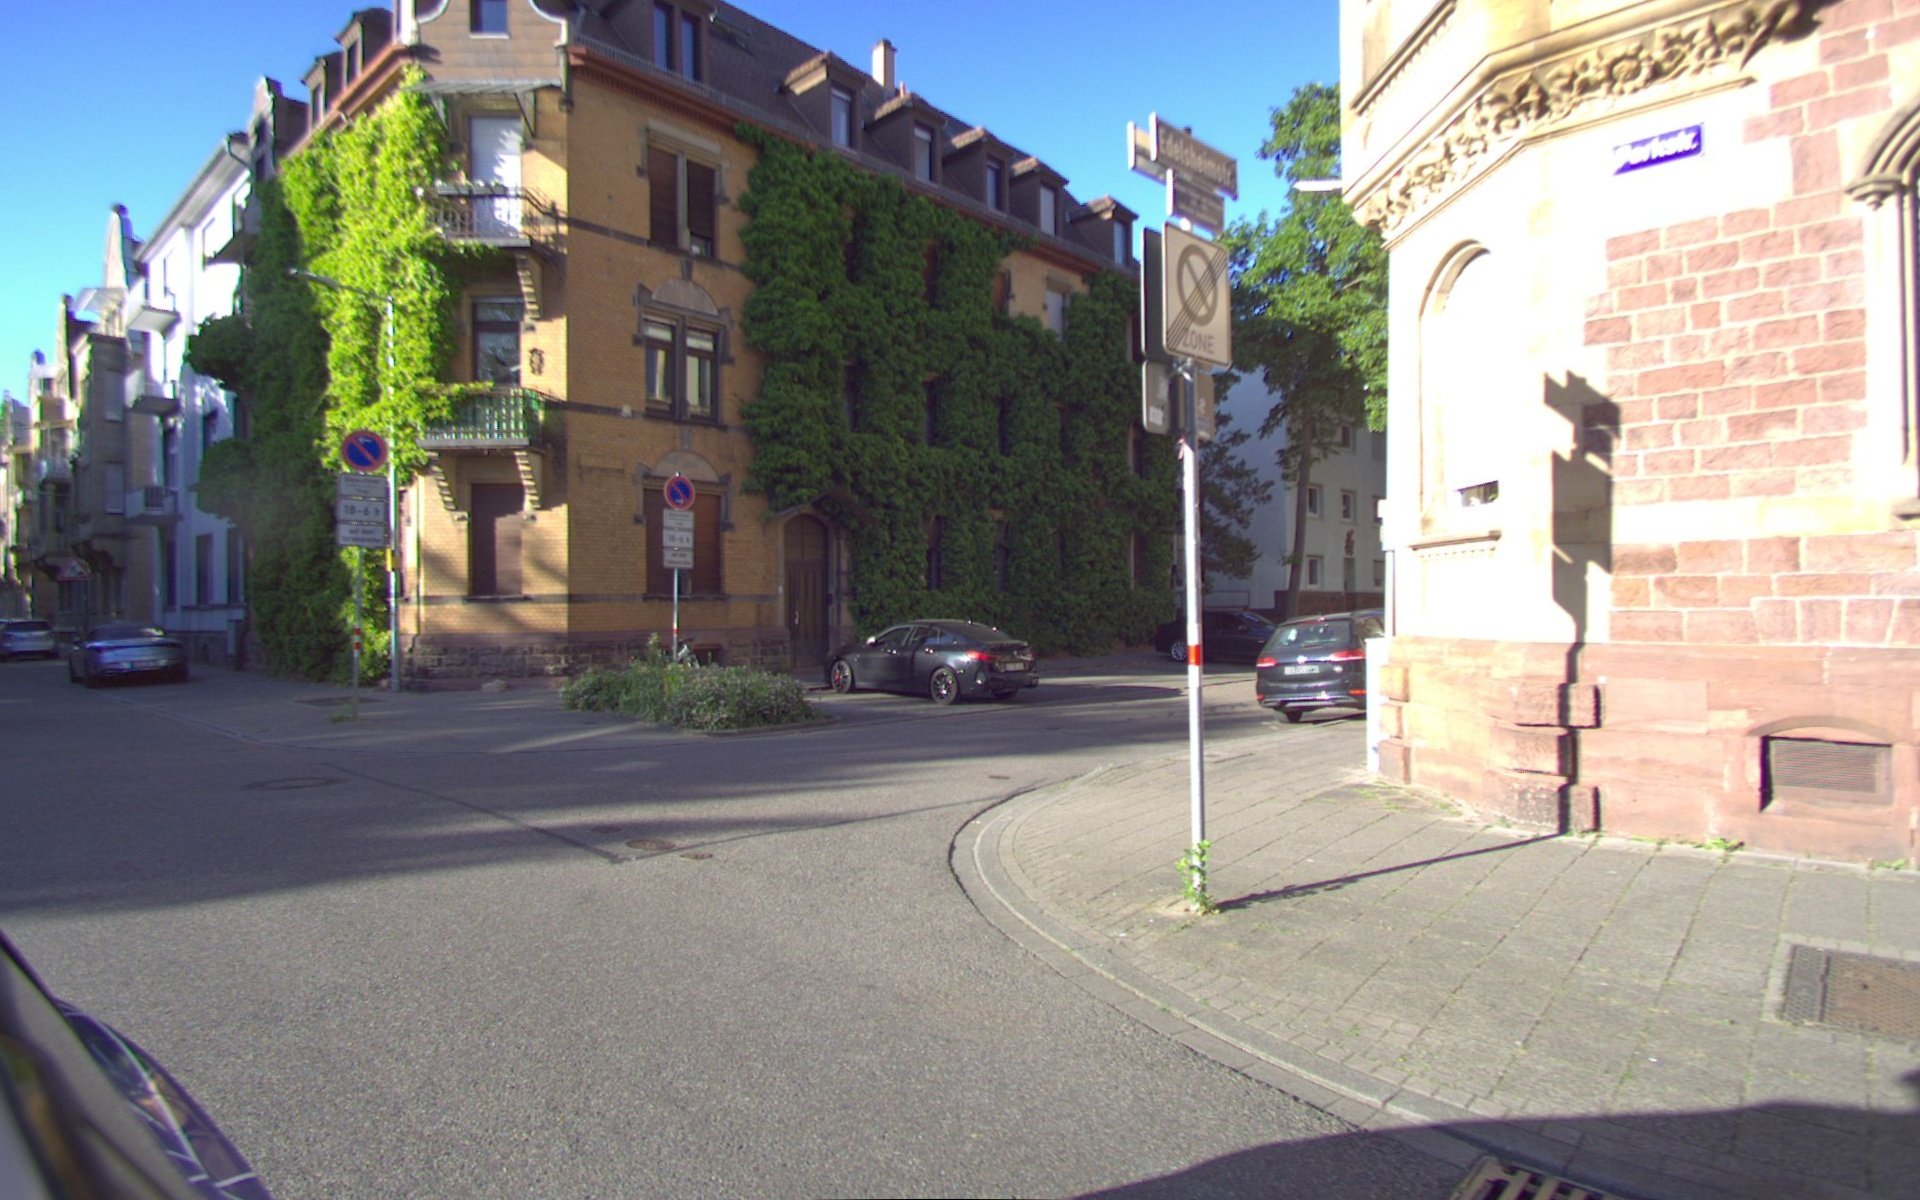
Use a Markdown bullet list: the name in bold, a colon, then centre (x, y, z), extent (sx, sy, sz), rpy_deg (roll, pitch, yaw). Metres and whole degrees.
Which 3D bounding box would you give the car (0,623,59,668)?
- **car**: centre (-35.812, 1.695, 38.503), extent (3.792, 1.558, 1.843), rpy_deg (0, 0, 42)

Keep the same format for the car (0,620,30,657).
- **car**: centre (-46.097, 1.831, 48.482), extent (4.144, 1.637, 1.971), rpy_deg (0, 0, 44)

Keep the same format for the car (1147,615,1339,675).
- **car**: centre (7.645, 1.162, 27.689), extent (4.851, 1.446, 1.686), rpy_deg (0, 0, 43)

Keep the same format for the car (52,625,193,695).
- **car**: centre (-19.986, 1.360, 24.069), extent (4.924, 1.415, 1.857), rpy_deg (-2, 0, 42)

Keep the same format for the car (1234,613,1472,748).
- **car**: centre (5.605, 0.994, 14.174), extent (1.744, 1.593, 3.942), rpy_deg (0, 0, 44)

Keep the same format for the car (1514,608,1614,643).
- **car**: centre (28.406, 1.164, 47.636), extent (3.814, 1.587, 1.686), rpy_deg (0, 0, 43)

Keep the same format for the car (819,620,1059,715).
- **car**: centre (-0.468, 1.136, 18.557), extent (4.257, 1.446, 1.972), rpy_deg (0, 0, 43)

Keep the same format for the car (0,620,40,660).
- **car**: centre (-42.072, 1.734, 44.585), extent (4.144, 1.637, 1.971), rpy_deg (0, 0, 44)

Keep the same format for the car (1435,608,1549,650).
- **car**: centre (21.430, 1.143, 40.845), extent (3.812, 1.587, 1.687), rpy_deg (0, 0, 41)

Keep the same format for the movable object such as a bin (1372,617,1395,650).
- **movable object such as a bin**: centre (14.932, 1.190, 35.681), extent (0.635, 1.134, 0.480), rpy_deg (0, -1, 39)

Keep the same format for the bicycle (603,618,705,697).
- **bicycle**: centre (-5.298, 0.972, 17.555), extent (1.577, 1.278, 0.566), rpy_deg (0, -2, -39)

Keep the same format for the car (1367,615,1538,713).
- **car**: centre (9.229, 1.086, 18.807), extent (1.744, 1.593, 3.942), rpy_deg (0, 0, 44)

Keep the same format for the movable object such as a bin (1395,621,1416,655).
- **movable object such as a bin**: centre (15.514, 1.326, 35.238), extent (0.599, 1.162, 0.480), rpy_deg (0, -1, 39)
